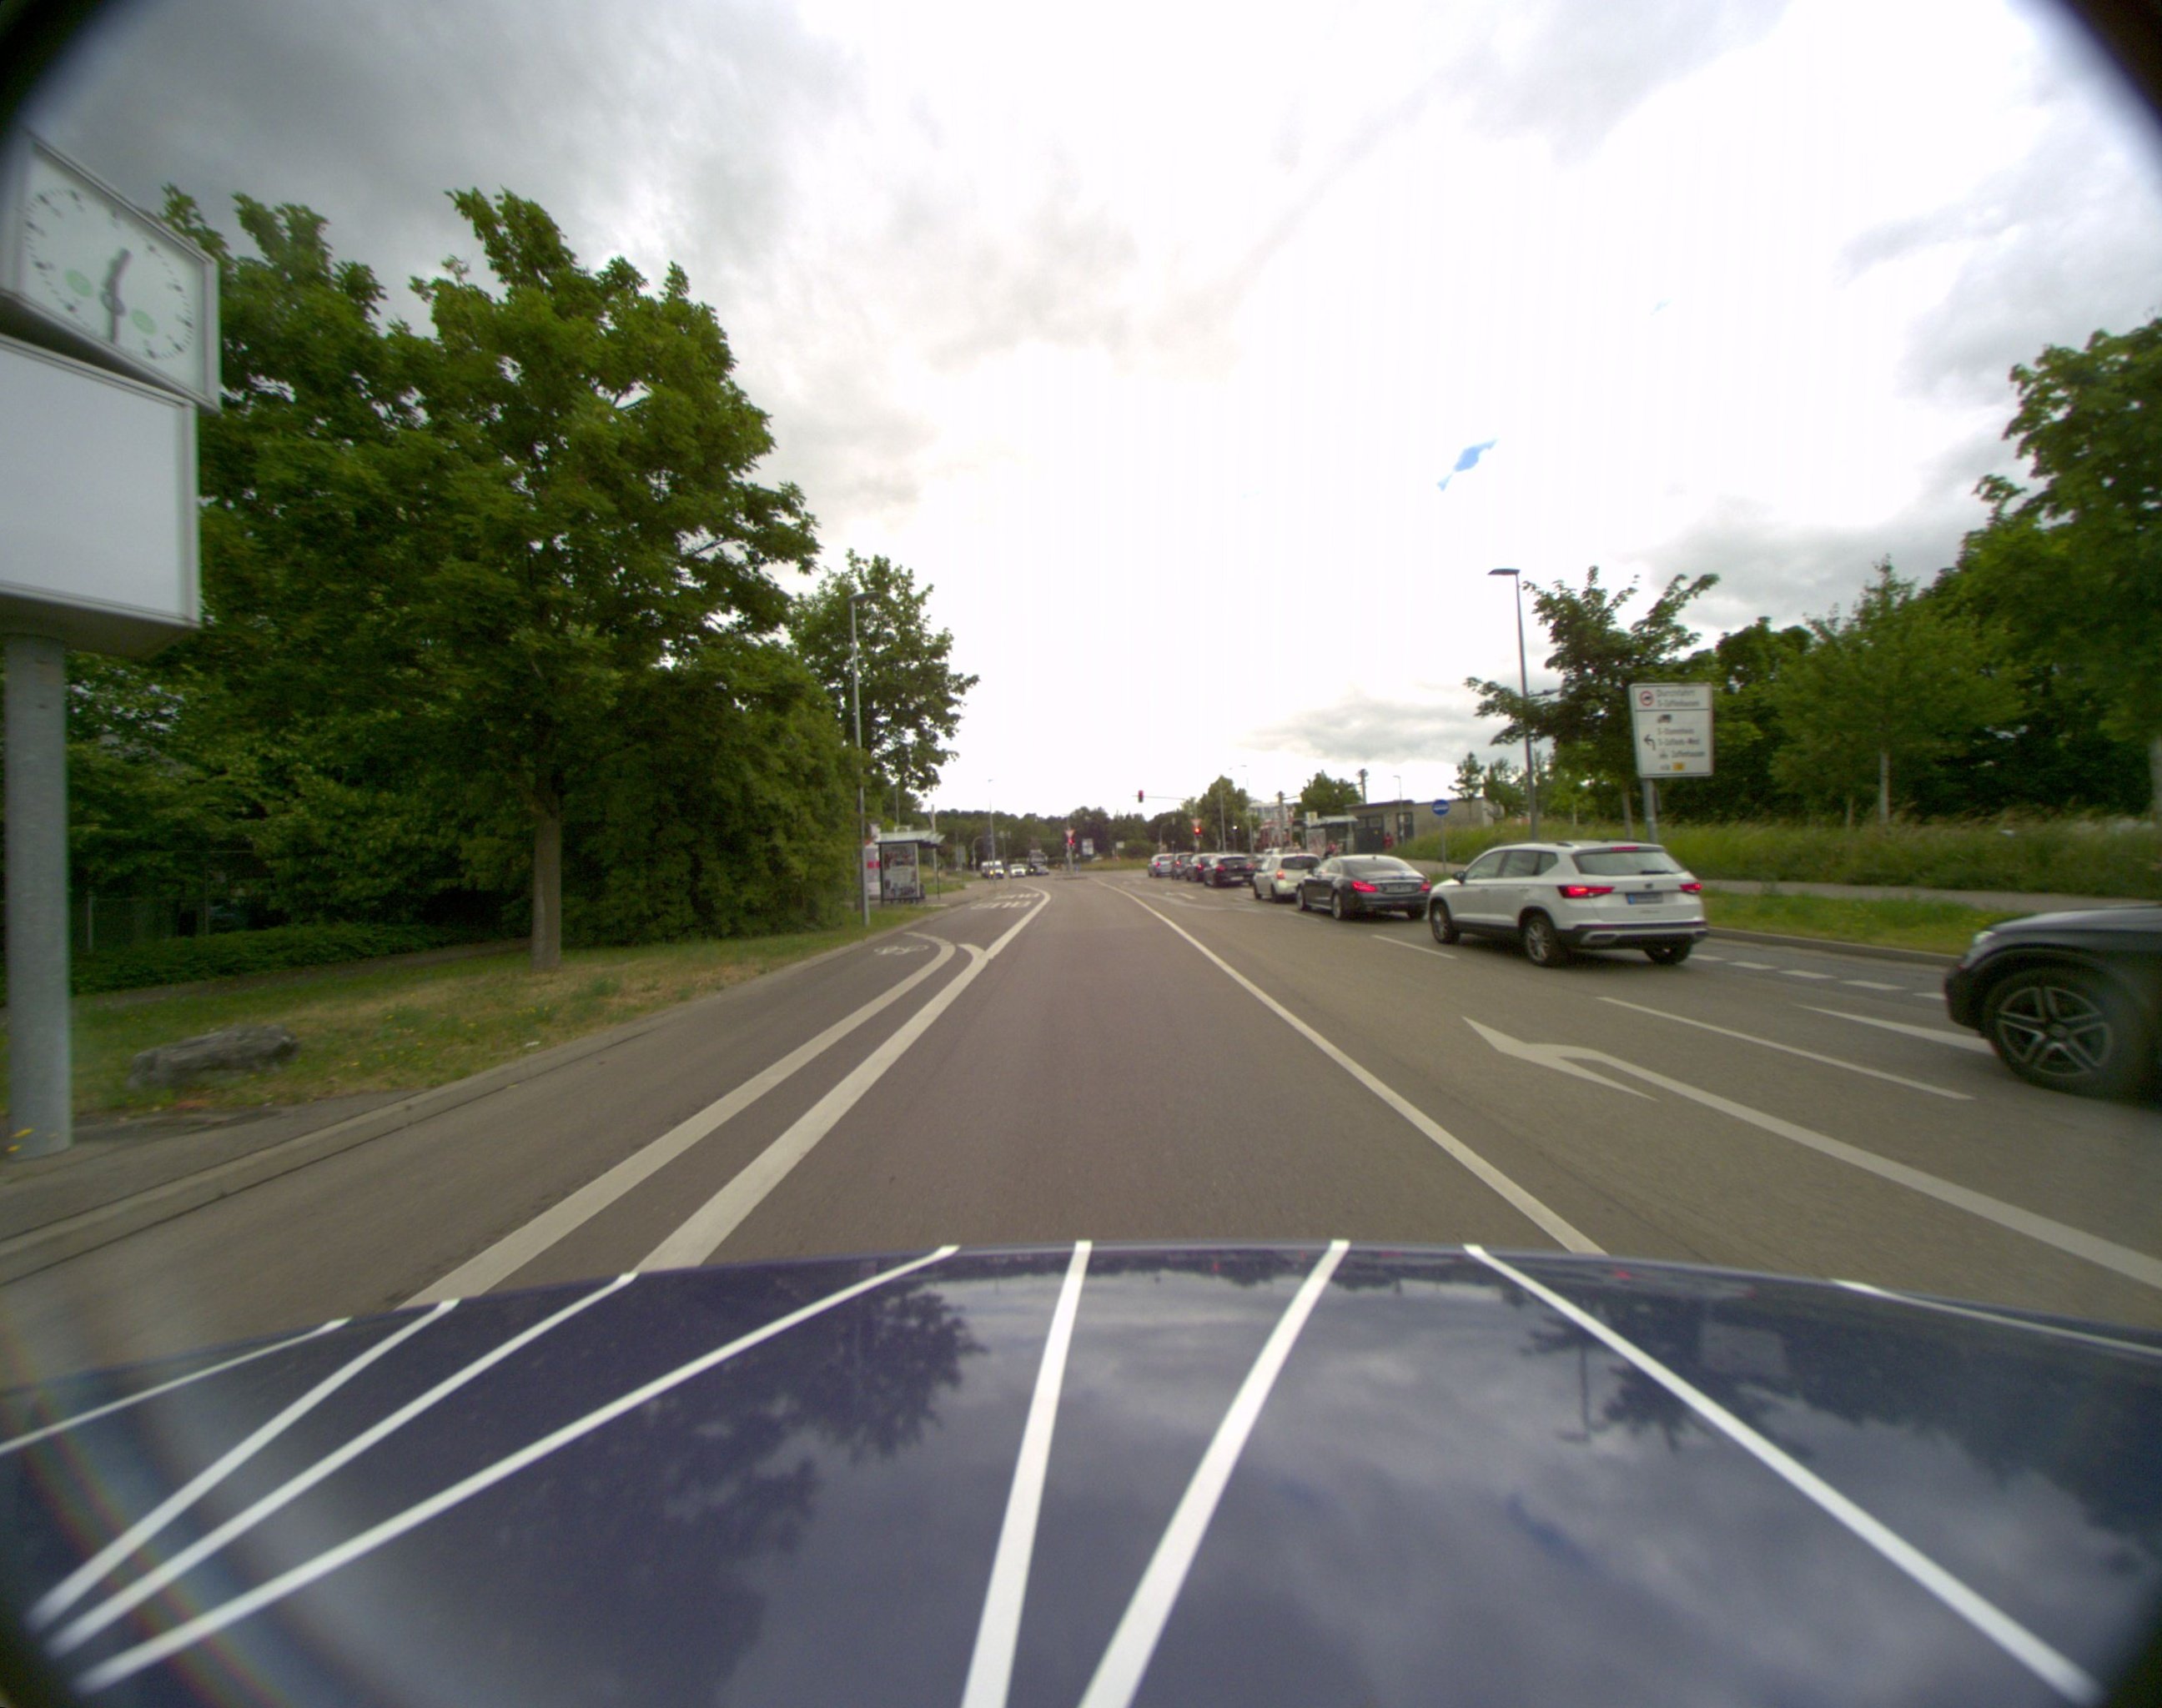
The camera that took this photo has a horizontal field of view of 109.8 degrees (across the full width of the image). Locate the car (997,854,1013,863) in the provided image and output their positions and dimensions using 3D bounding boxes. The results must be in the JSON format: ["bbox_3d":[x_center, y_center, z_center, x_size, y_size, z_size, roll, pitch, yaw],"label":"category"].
[{"bbox_3d":[-18.933,1.179,189.323,2.310,2.001,4.809,-4,-1,-29],"label":"car"}]

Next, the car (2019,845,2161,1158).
[{"bbox_3d":[6.324,0.719,2.403,1.643,1.576,4.061,-3,0,0],"label":"car"}]

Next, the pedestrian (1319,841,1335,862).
[{"bbox_3d":[16.085,-0.158,49.708,0.774,1.322,0.550,-3,0,-8],"label":"pedestrian"}]

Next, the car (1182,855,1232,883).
[{"bbox_3d":[6.714,0.796,40.859,1.804,1.324,4.380,-3,0,-1],"label":"car"}]

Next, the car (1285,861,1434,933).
[{"bbox_3d":[6.286,0.886,17.809,1.643,1.382,4.885,-3,0,0],"label":"car"}]

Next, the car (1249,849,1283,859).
[{"bbox_3d":[25.401,-0.006,104.457,4.226,1.332,1.812,0,-1,-21],"label":"car"}]

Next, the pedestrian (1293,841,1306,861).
[{"bbox_3d":[15.384,-0.209,53.482,0.550,1.355,0.774,-3,0,-8],"label":"pedestrian"}]

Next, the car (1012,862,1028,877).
[{"bbox_3d":[-9.007,2.251,111.742,2.120,1.979,4.986,-5,0,-5],"label":"car"}]

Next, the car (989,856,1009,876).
[{"bbox_3d":[-12.062,1.735,111.331,2.228,2.642,5.956,-4,0,-11],"label":"car"}]

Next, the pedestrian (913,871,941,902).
[{"bbox_3d":[-6.349,1.341,31.316,0.777,1.245,0.771,-3,0,-41],"label":"pedestrian"}]

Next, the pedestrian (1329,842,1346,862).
[{"bbox_3d":[16.366,-0.148,48.439,0.774,1.219,0.550,-3,0,-8],"label":"pedestrian"}]

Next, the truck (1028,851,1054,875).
[{"bbox_3d":[-6.303,1.435,118.936,3.075,3.497,5.956,-4,0,-11],"label":"truck"}]

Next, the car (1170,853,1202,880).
[{"bbox_3d":[6.387,0.770,46.371,1.432,1.518,2.774,-3,0,-2],"label":"car"}]

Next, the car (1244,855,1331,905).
[{"bbox_3d":[6.437,0.773,24.060,1.643,1.382,3.762,-3,0,0],"label":"car"}]

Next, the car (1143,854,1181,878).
[{"bbox_3d":[5.551,0.801,52.764,1.832,1.526,4.218,-3,0,-4],"label":"car"}]

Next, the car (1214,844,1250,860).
[{"bbox_3d":[20.185,-0.242,101.469,4.222,1.769,1.814,-3,0,-8],"label":"car"}]

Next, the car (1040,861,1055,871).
[{"bbox_3d":[-4.954,1.752,111.270,1.636,1.433,3.864,-3,-1,-10],"label":"car"}]

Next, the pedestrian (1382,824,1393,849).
[{"bbox_3d":[21.025,-1.206,52.144,0.549,1.660,0.430,-4,0,36],"label":"pedestrian"}]

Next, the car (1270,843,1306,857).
[{"bbox_3d":[29.536,-0.527,108.207,4.456,1.894,2.183,0,-1,-15],"label":"car"}]

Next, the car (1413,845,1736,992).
[{"bbox_3d":[6.497,0.750,10.699,1.735,1.576,4.223,-3,0,0],"label":"car"}]

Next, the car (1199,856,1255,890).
[{"bbox_3d":[6.446,0.817,33.959,1.643,1.324,4.061,-3,0,0],"label":"car"}]
